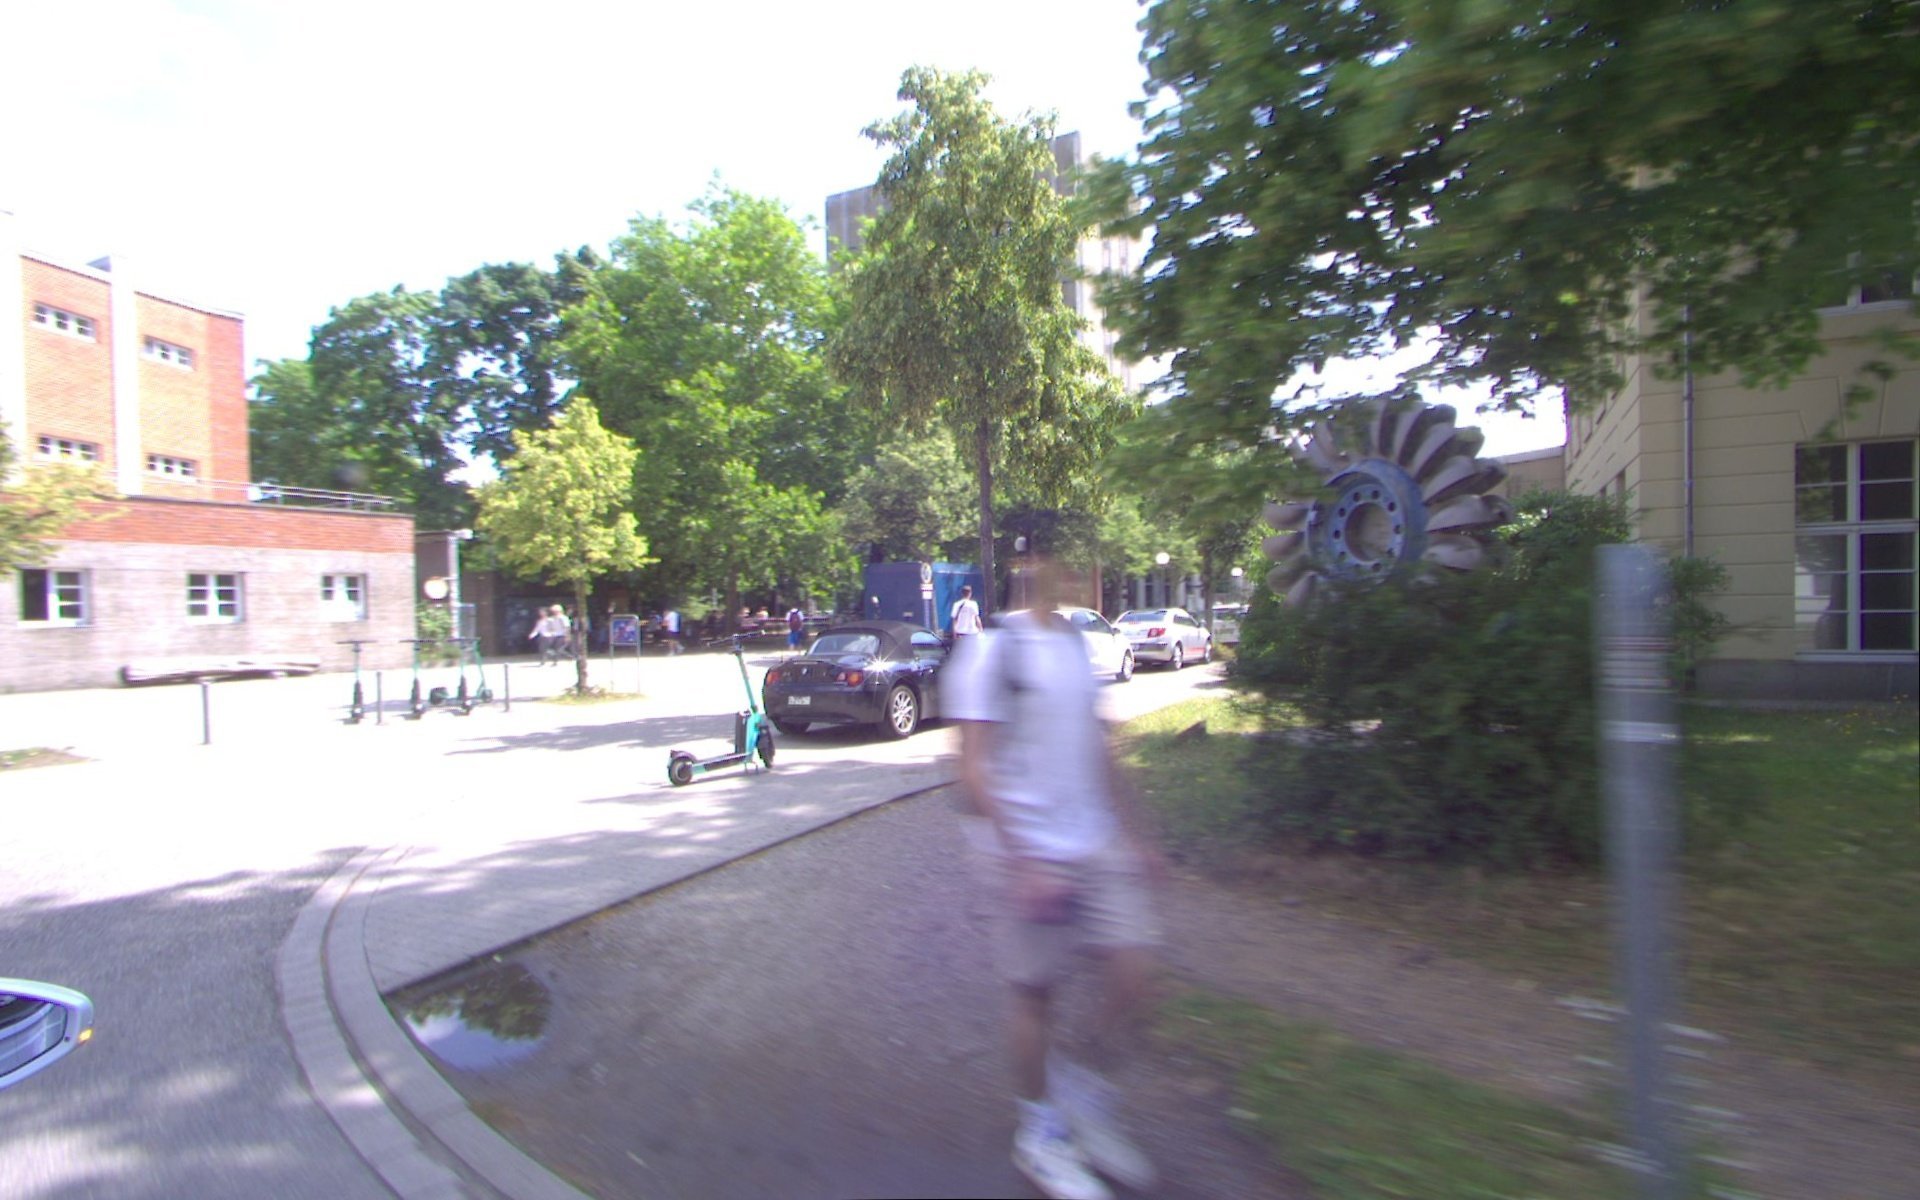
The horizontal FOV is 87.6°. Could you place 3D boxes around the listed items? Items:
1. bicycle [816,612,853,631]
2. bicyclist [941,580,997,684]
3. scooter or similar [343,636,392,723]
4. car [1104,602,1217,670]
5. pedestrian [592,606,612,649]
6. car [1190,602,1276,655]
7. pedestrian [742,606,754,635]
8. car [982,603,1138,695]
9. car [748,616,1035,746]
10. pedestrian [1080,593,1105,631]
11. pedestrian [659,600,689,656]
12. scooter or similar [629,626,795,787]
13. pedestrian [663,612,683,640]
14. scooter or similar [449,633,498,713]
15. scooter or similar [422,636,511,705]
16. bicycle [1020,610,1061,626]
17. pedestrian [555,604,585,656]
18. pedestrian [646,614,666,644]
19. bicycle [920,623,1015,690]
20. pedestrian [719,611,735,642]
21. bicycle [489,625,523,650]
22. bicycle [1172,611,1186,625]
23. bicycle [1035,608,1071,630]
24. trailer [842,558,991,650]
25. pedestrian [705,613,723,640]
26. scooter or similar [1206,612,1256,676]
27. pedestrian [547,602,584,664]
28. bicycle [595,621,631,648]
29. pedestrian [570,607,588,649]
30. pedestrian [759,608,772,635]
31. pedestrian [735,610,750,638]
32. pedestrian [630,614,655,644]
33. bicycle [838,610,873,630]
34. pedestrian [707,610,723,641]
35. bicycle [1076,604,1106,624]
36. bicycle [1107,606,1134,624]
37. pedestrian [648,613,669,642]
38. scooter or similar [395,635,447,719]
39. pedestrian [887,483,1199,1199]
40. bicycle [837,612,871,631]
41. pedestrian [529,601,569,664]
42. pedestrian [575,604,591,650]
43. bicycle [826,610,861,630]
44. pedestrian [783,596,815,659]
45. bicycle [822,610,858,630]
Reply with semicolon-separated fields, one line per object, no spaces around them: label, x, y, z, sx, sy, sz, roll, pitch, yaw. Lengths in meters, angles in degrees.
bicycle;-7.041;1.210;56.187;1.979;1.021;0.583;-1;0;20
bicyclist;0.185;0.640;20.194;0.862;2.040;0.847;0;0;25
scooter or similar;-9.210;1.195;15.542;0.563;1.241;1.565;-1;0;-34
car;4.780;0.795;23.489;1.625;1.409;3.974;-2;0;26
pedestrian;-13.908;1.069;38.931;0.666;1.673;0.502;0;2;-11
car;8.526;0.851;30.997;1.704;1.486;4.654;-2;-1;26
pedestrian;-11.432;1.118;53.962;0.498;1.543;0.473;0;1;18
car;1.935;0.814;18.256;1.567;1.485;3.975;-1;-1;26
car;-0.663;0.879;12.529;1.687;1.297;3.982;-1;0;29
pedestrian;7.034;0.655;53.165;0.909;1.981;0.886;2;1;38
pedestrian;-9.563;0.935;33.482;0.869;1.843;0.446;1;-2;-34
scooter or similar;-2.131;0.870;8.732;0.547;1.270;1.373;0;0;36
pedestrian;-13.075;1.180;45.575;0.553;1.288;0.690;0;1;29
scooter or similar;-8.058;1.174;16.560;0.517;1.241;1.565;-1;0;-34
scooter or similar;-8.924;1.252;18.146;0.558;1.164;1.339;0;0;40
bicycle;5.579;1.233;69.019;2.684;1.016;0.881;0;0;-14
pedestrian;-13.336;1.033;34.262;0.869;1.742;0.486;1;-2;-34
pedestrian;-13.999;1.340;46.118;0.637;1.341;0.556;-1;0;30
bicycle;0.197;1.099;20.226;0.870;1.215;2.740;0;0;25
pedestrian;-10.551;1.185;45.343;0.584;1.388;0.742;0;2;-6
bicycle;-17.220;1.410;37.990;0.300;0.895;1.226;0;0;30
bicycle;17.585;1.460;80.388;0.545;1.101;1.965;1;1;28
bicycle;5.421;1.101;58.130;2.021;1.251;0.808;0;1;11
trailer;-1.444;0.127;36.612;2.663;3.067;6.240;0;0;28
pedestrian;-11.899;1.267;48.469;0.560;1.267;0.766;0;1;17
scooter or similar;5.488;0.881;20.255;0.515;1.237;1.227;-1;0;38
pedestrian;-11.389;0.943;28.918;0.556;1.785;0.802;0;0;28
bicycle;-14.126;1.392;40.766;1.325;1.090;0.416;0;-2;-15
pedestrian;-14.652;1.069;38.491;0.595;1.615;0.412;0;2;-13
pedestrian;-10.433;1.154;53.668;0.498;1.441;0.459;0;1;19
pedestrian;-10.040;1.103;46.324;0.584;1.250;0.742;0;2;-6
pedestrian;-14.320;1.299;45.155;0.679;1.340;0.775;-1;0;30
bicycle;-6.096;1.190;58.571;1.979;1.133;0.583;-1;0;20
pedestrian;-11.176;1.156;45.629;0.584;1.388;0.703;0;2;-6
bicycle;10.022;1.056;76.599;2.246;1.469;0.607;0;0;-4
bicycle;12.299;1.143;76.748;1.982;1.270;0.587;-2;0;-4
pedestrian;-13.458;1.215;44.679;0.553;1.288;0.690;0;1;29
scooter or similar;-8.615;1.199;15.977;0.557;1.241;1.565;-1;0;-34
pedestrian;0.238;0.634;2.610;0.574;1.768;0.638;0;1;31
bicycle;-6.486;1.308;61.222;1.979;1.133;0.583;-1;0;20
pedestrian;-11.946;0.941;29.108;0.568;1.803;0.914;0;0;28
pedestrian;-14.321;1.028;38.063;0.521;1.734;0.447;0;2;-16
bicycle;-6.745;1.171;57.995;1.979;1.133;0.583;-1;0;20
pedestrian;-4.897;0.833;30.471;0.837;1.861;0.877;0;2;-2
bicycle;-6.861;1.137;57.155;1.979;1.133;0.583;-1;0;20
